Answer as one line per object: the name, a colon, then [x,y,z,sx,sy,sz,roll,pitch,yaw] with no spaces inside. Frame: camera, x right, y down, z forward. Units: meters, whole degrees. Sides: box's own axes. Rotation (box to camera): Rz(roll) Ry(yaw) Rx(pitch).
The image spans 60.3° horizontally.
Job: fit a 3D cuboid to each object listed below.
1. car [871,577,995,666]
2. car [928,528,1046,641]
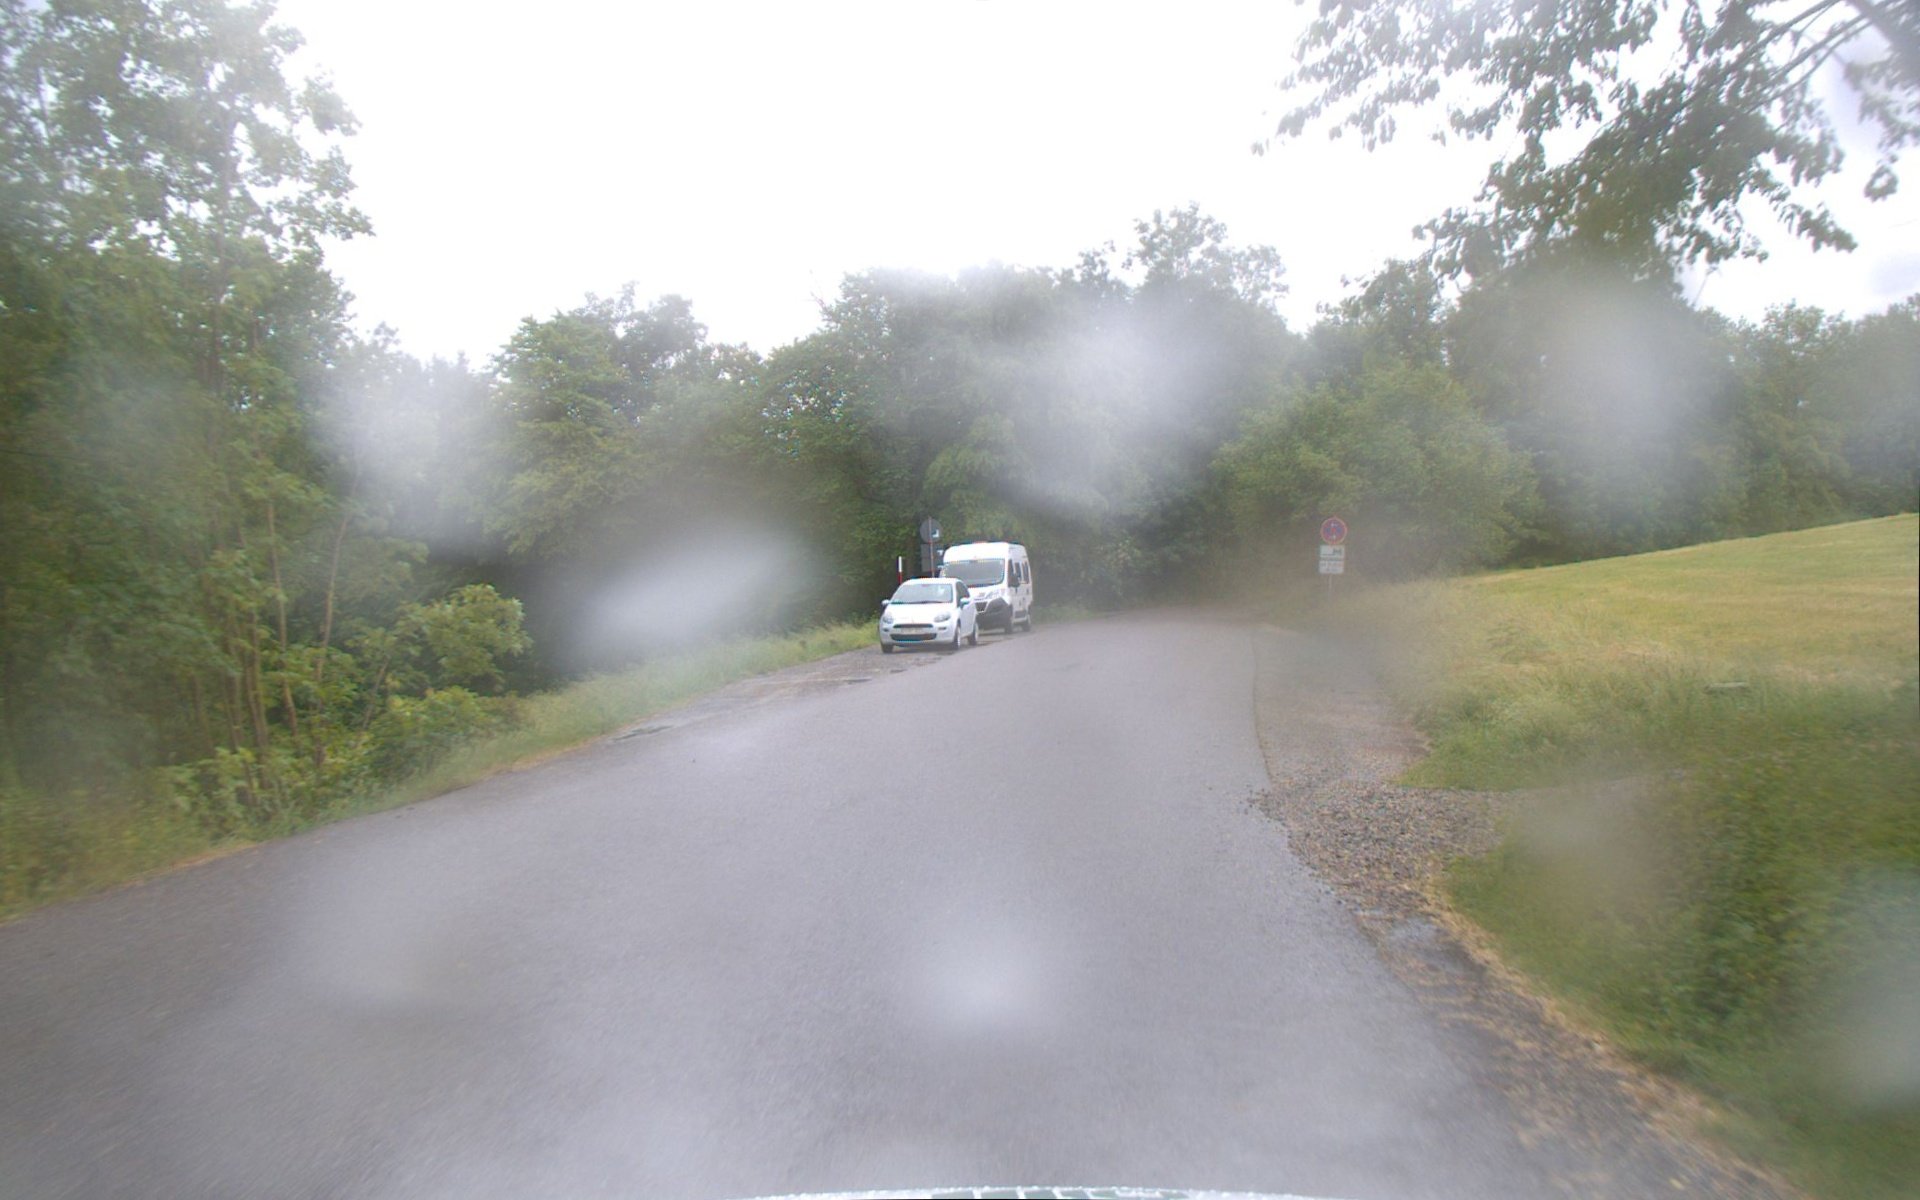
car: [-0.507,0.403,35.741,1.821,1.623,4.500,-3,1,9]
car: [0.850,-0.499,45.573,2.224,2.743,6.055,-4,1,9]
